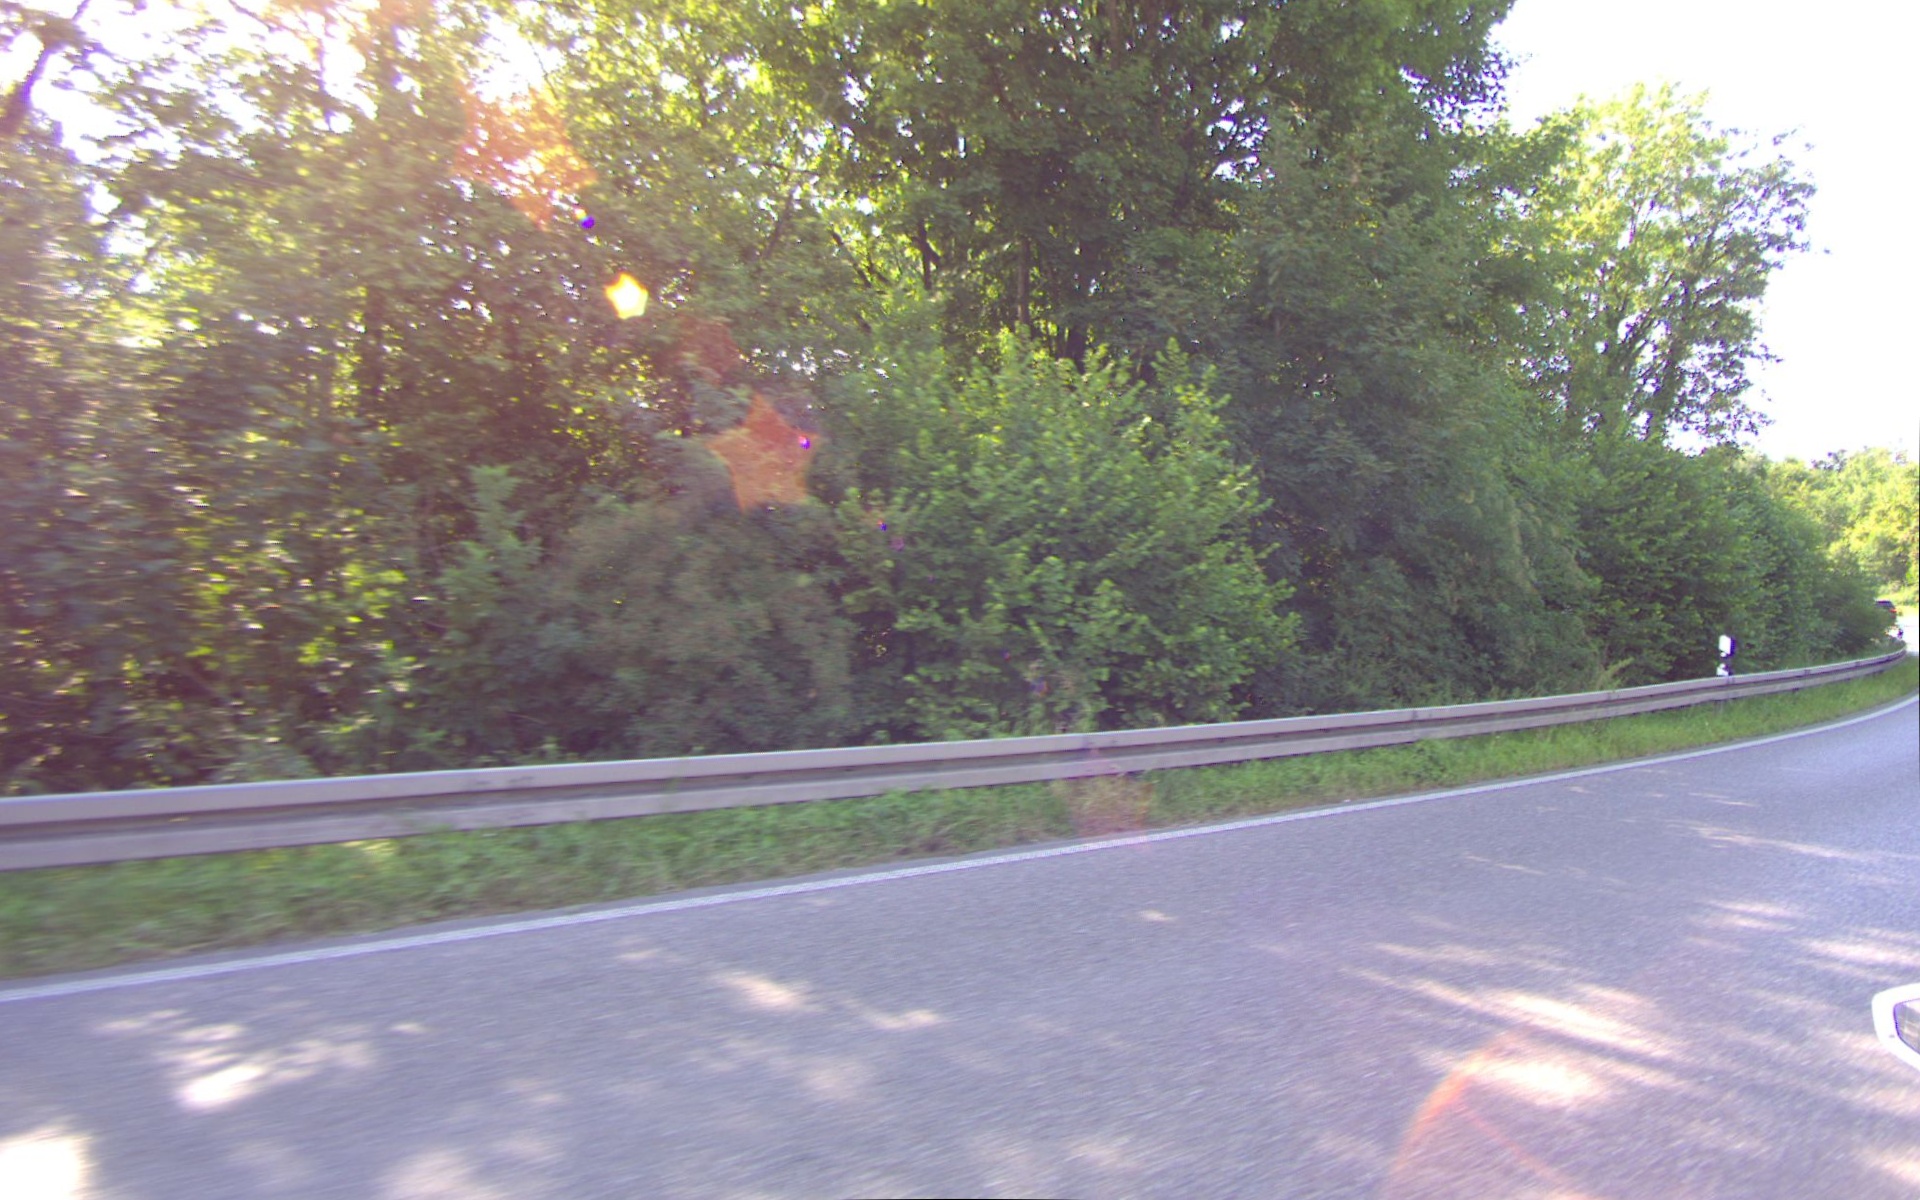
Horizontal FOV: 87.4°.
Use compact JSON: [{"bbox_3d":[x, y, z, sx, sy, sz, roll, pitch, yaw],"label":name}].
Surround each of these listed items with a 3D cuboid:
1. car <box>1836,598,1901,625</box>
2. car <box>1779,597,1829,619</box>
[{"bbox_3d":[60.282,0.743,66.716,1.837,1.650,3.998,1,2,21],"label":"car"},{"bbox_3d":[63.857,0.584,76.095,1.838,1.586,3.997,1,1,24],"label":"car"}]
